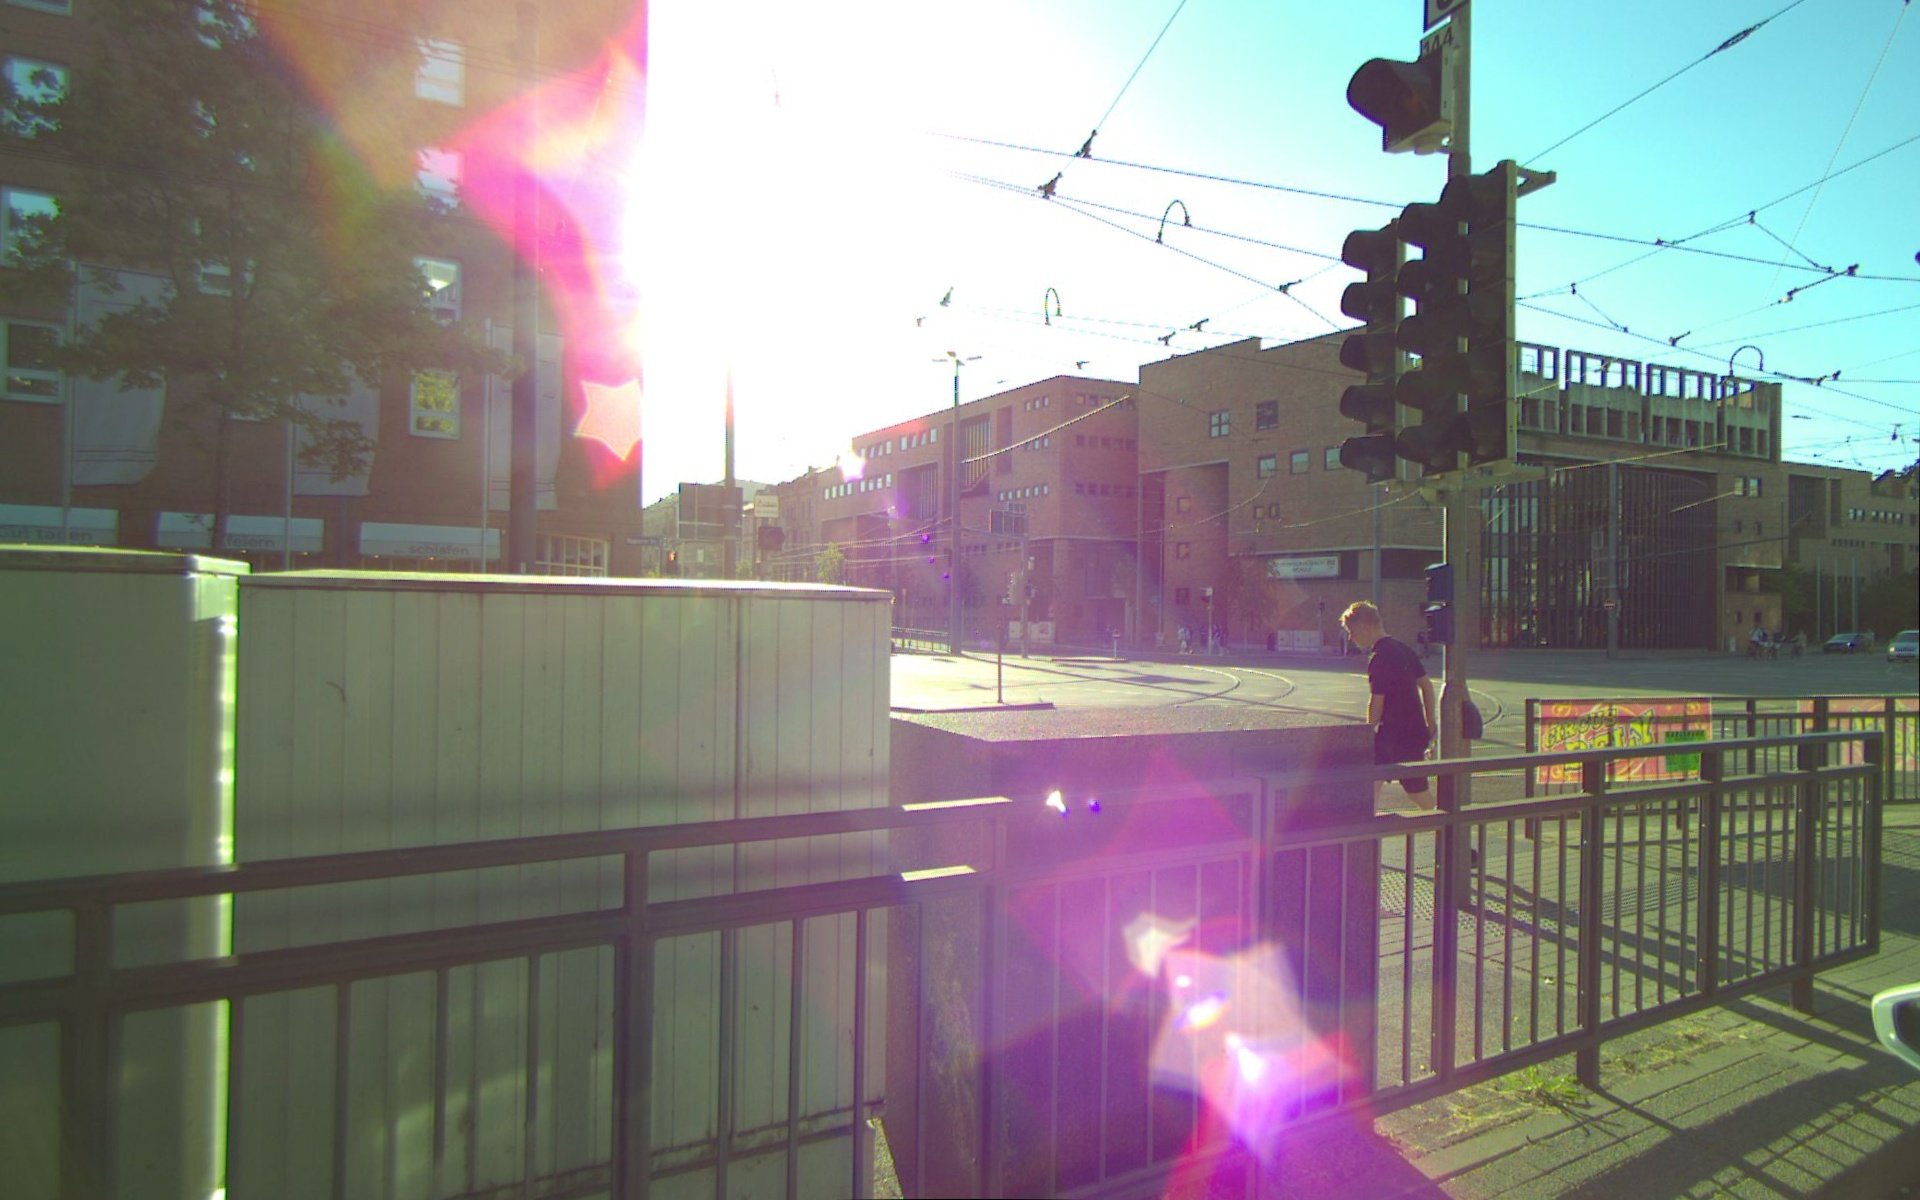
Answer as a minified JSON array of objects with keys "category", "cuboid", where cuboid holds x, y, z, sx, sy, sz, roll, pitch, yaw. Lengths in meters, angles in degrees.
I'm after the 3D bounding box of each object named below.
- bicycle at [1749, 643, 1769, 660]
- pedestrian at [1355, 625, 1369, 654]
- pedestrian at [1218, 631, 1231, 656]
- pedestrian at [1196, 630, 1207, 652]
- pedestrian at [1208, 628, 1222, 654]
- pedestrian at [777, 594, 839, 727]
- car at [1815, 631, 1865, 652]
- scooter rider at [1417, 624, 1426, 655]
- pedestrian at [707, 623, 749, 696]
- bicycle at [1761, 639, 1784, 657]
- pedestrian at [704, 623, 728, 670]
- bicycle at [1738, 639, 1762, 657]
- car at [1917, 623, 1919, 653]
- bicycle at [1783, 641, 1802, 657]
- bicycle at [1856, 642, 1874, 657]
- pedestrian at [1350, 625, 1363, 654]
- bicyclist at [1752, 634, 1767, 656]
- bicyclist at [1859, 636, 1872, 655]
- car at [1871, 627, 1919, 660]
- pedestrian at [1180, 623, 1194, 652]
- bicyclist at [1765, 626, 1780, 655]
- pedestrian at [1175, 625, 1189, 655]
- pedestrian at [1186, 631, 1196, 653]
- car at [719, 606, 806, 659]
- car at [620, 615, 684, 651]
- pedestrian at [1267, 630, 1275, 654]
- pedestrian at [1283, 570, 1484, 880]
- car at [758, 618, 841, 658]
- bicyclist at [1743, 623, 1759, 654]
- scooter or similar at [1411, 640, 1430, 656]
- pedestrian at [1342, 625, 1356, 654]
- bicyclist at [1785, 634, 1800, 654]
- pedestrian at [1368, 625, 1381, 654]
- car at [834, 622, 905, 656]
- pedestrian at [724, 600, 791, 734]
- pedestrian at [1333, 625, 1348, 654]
[{"category":"bicycle","cuboid":[46.562,2.984,58.544,1.304,0.976,0.465,1,-1,-30]},{"category":"pedestrian","cuboid":[24.338,2.397,60.803,0.497,1.706,0.588,1,-1,-36]},{"category":"pedestrian","cuboid":[14.519,2.404,55.133,0.667,1.357,0.605,0,-1,11]},{"category":"pedestrian","cuboid":[15.782,2.673,65.604,0.549,1.445,0.556,0,-1,0]},{"category":"pedestrian","cuboid":[14.380,2.310,56.592,0.604,1.473,0.568,1,-1,-11]},{"category":"pedestrian","cuboid":[-2.222,0.868,14.650,0.647,1.864,0.835,1,-1,-28]},{"category":"car","cuboid":[63.543,2.993,72.527,3.954,1.455,1.658,1,-2,-31]},{"category":"scooter rider","cuboid":[25.438,2.164,55.392,0.429,1.669,0.229,0,-1,15]},{"category":"pedestrian","cuboid":[-5.419,1.366,23.451,0.709,1.669,0.953,1,-1,-30]},{"category":"bicycle","cuboid":[44.974,2.668,55.618,1.557,0.976,0.470,1,-1,-30]},{"category":"pedestrian","cuboid":[-8.822,1.681,36.376,0.658,1.669,0.638,1,-1,-34]},{"category":"bicycle","cuboid":[44.265,2.679,56.291,1.568,0.976,0.539,1,-1,-30]},{"category":"car","cuboid":[55.259,2.111,55.895,3.954,1.661,1.984,1,-2,-31]},{"category":"bicycle","cuboid":[49.371,2.905,59.589,1.332,0.976,0.449,1,-1,-30]},{"category":"bicycle","cuboid":[59.678,3.264,66.236,1.469,0.976,0.489,1,-1,-30]},{"category":"pedestrian","cuboid":[23.612,2.362,59.832,0.568,1.706,0.543,1,-1,-38]},{"category":"bicyclist","cuboid":[46.571,2.621,58.536,0.574,1.321,0.503,1,-1,-30]},{"category":"bicyclist","cuboid":[59.756,2.987,66.286,0.574,1.226,0.503,1,-1,-30]},{"category":"car","cuboid":[48.989,2.224,51.781,3.954,1.661,1.984,1,-2,-31]},{"category":"pedestrian","cuboid":[12.623,2.077,55.977,0.579,1.635,0.597,1,-1,-10]},{"category":"bicyclist","cuboid":[44.984,2.232,55.614,0.574,1.624,0.456,1,-1,-30]},{"category":"pedestrian","cuboid":[12.207,2.184,55.186,0.539,1.670,0.600,1,-1,-11]},{"category":"pedestrian","cuboid":[15.095,2.729,65.638,0.562,1.428,0.554,0,-1,4]},{"category":"car","cuboid":[-9.501,1.523,48.023,1.982,2.419,5.156,1,-2,-38]},{"category":"car","cuboid":[-18.651,1.966,60.741,1.982,2.122,5.156,1,-2,-38]},{"category":"pedestrian","cuboid":[19.521,2.646,63.040,0.481,1.526,0.550,0,-1,16]},{"category":"pedestrian","cuboid":[2.649,0.738,6.325,1.072,1.771,0.742,-1,-2,24]},{"category":"car","cuboid":[-8.336,1.912,51.704,1.982,1.928,5.156,1,-2,-38]},{"category":"bicyclist","cuboid":[44.351,2.168,56.337,0.574,1.754,0.534,1,-1,-30]},{"category":"scooter or similar","cuboid":[25.384,2.641,55.375,0.931,0.911,0.176,0,-1,14]},{"category":"pedestrian","cuboid":[22.652,2.311,58.526,0.585,1.706,0.546,1,-1,-31]},{"category":"bicyclist","cuboid":[49.347,2.619,59.562,0.574,1.194,0.503,1,-1,-30]},{"category":"pedestrian","cuboid":[24.581,2.347,59.566,0.543,1.706,0.568,1,-1,-38]},{"category":"car","cuboid":[-4.718,1.977,52.041,1.980,1.572,3.961,2,0,-35]},{"category":"pedestrian","cuboid":[-2.918,0.939,14.417,0.713,1.837,0.904,1,-1,-28]},{"category":"pedestrian","cuboid":[22.783,2.362,60.104,0.646,1.706,0.615,1,-2,-40]}]
